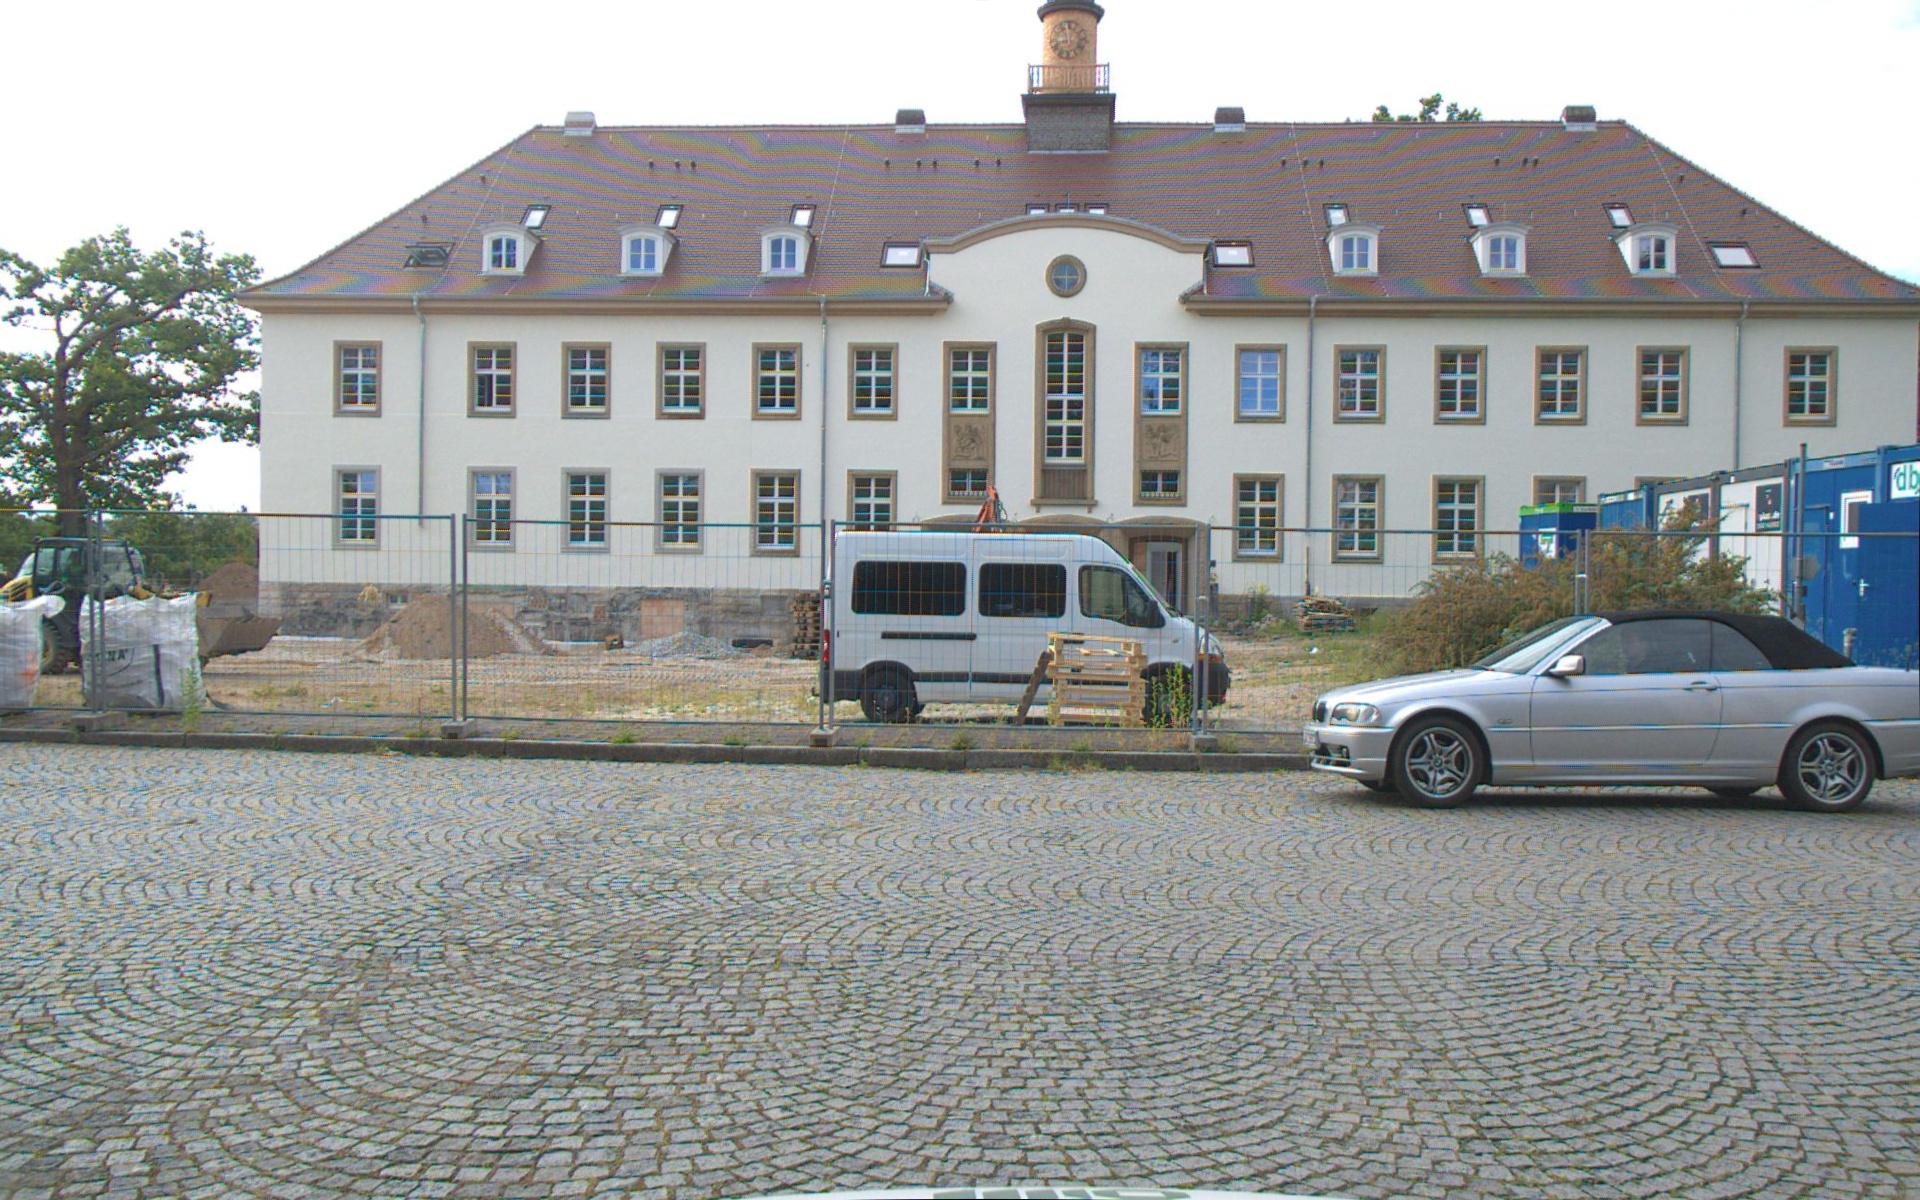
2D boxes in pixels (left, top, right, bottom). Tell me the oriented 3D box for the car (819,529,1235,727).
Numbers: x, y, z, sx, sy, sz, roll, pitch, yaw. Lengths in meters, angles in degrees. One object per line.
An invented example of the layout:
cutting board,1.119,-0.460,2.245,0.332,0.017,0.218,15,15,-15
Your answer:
car,0.886,0.328,21.511,5.151,2.385,1.911,1,0,5

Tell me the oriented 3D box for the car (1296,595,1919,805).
car,4.685,0.722,12.009,4.192,1.370,1.606,1,-3,1

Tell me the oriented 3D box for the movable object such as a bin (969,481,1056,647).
movable object such as a bin,1.228,-0.862,41.199,1.953,3.837,5.317,1,0,0

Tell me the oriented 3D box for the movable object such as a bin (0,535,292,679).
movable object such as a bin,-15.756,0.115,31.505,5.218,2.601,2.001,1,0,2
